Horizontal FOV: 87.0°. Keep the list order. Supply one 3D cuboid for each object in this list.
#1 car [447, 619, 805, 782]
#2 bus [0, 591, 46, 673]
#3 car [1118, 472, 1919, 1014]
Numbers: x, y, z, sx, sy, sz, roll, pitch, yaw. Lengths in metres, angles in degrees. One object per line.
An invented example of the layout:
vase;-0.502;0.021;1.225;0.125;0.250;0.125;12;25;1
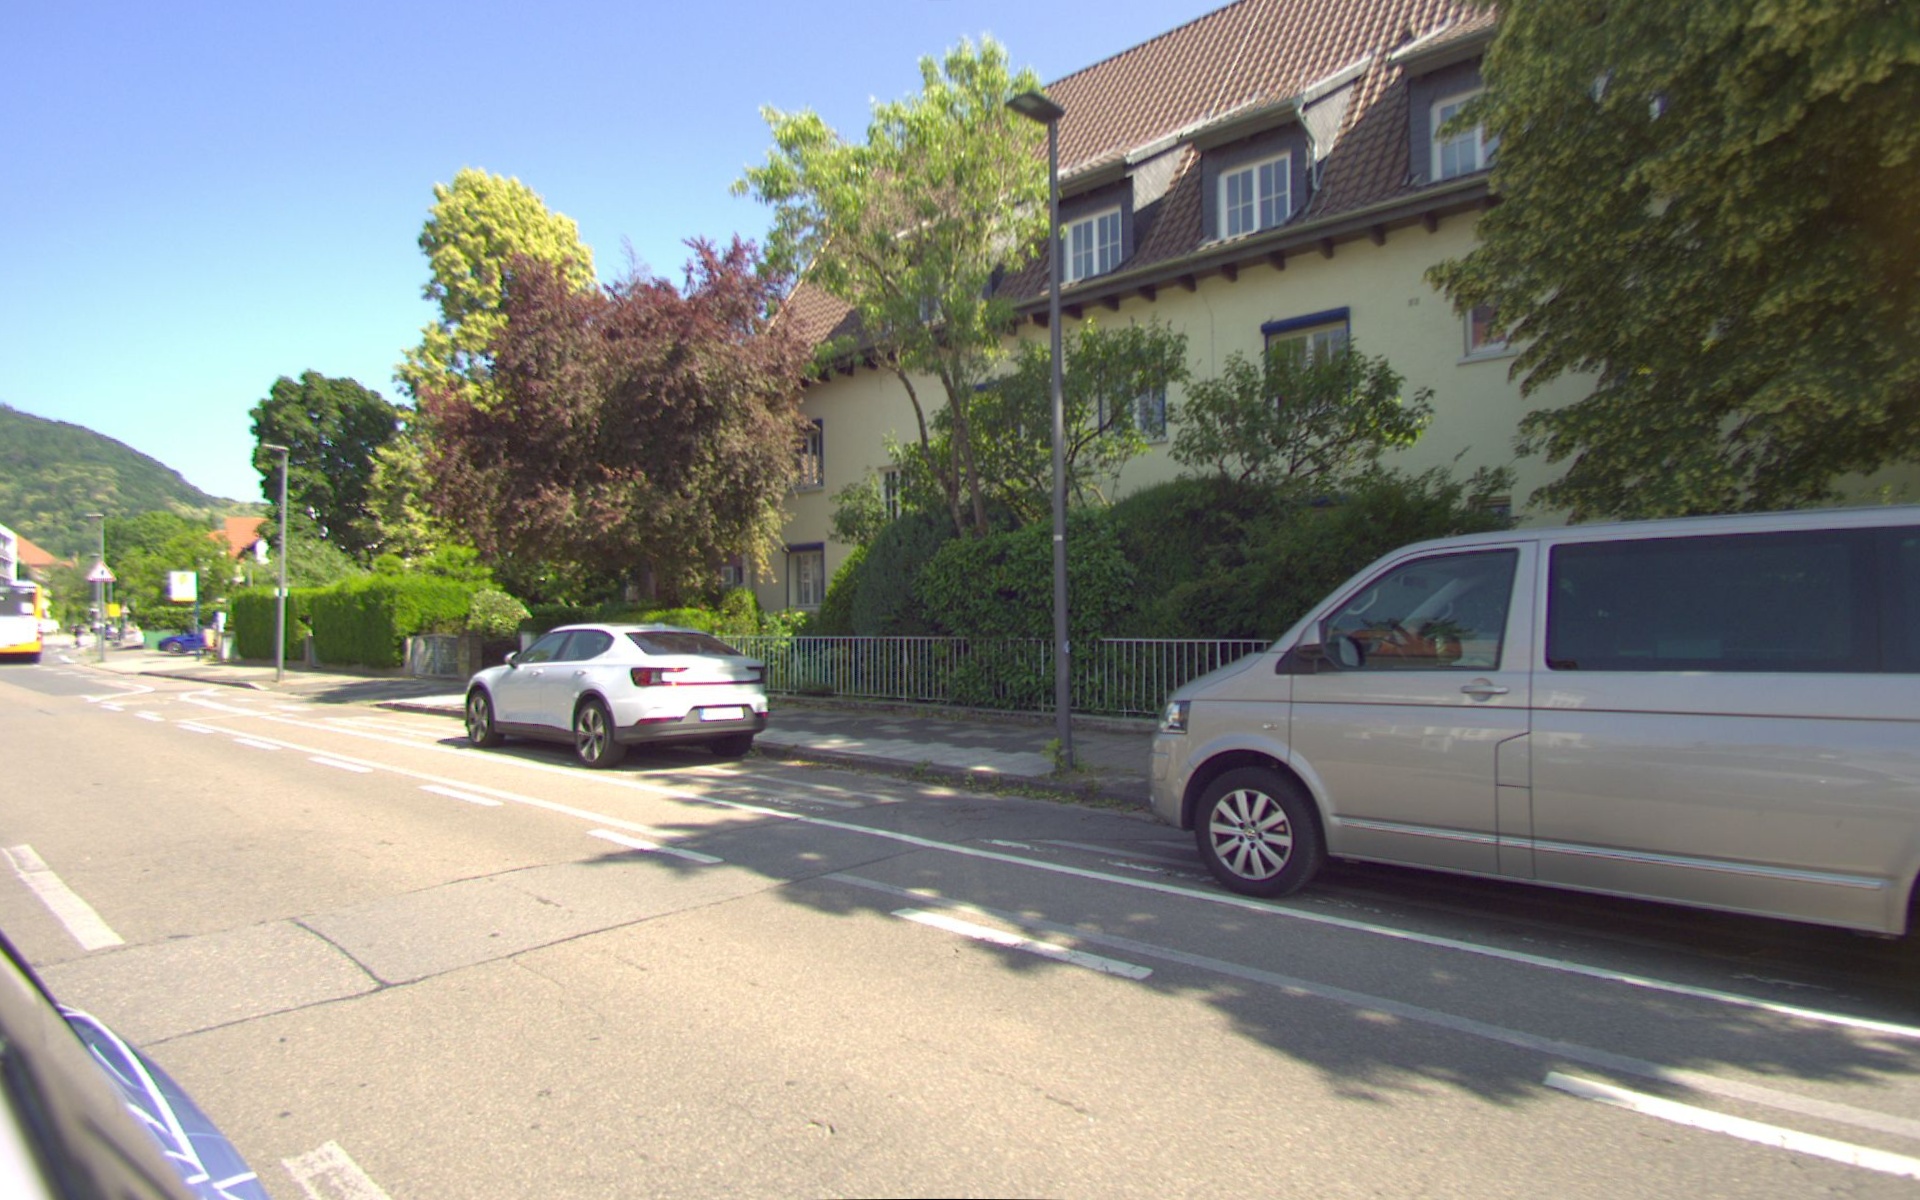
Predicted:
car;-3.952;1.020;11.551;4.560;1.497;1.814;-2;-4;41
bus;-41.028;1.359;42.949;9.782;3.199;2.714;-2;-3;45
car;3.352;0.565;4.945;4.865;1.934;1.865;-1;-4;41
